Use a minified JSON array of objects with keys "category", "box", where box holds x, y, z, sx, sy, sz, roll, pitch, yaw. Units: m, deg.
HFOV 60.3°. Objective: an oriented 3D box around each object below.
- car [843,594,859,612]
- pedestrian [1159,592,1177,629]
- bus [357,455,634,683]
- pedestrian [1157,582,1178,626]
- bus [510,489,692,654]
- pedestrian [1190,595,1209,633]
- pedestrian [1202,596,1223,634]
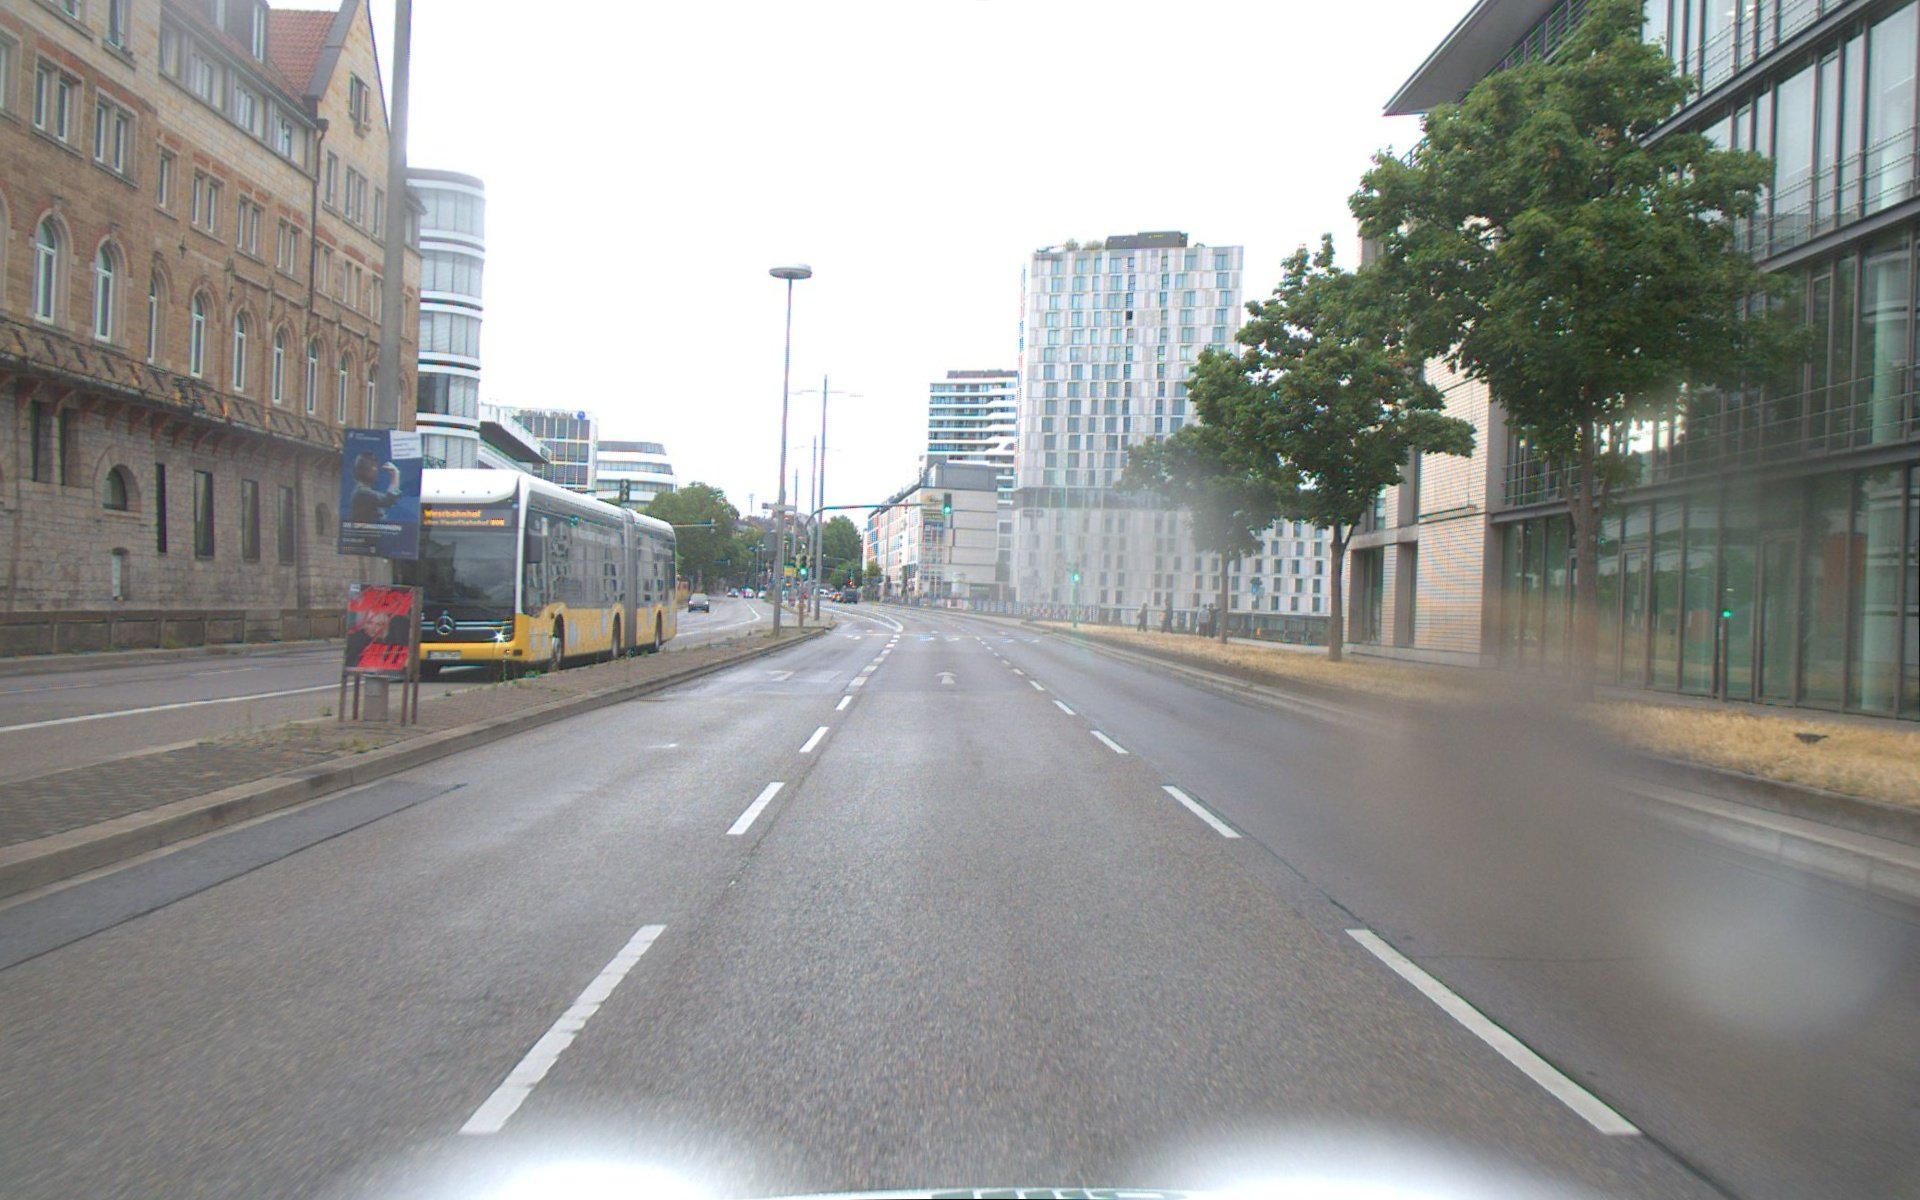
[{"category":"car","box":[-16.103,0.401,244.621,1.954,2.383,3.998,-6,0,-2]},{"category":"pedestrian","box":[9.146,0.442,72.649,0.540,1.605,0.669,1,2,33]},{"category":"bus","box":[-8.362,-0.486,31.314,2.644,3.621,10.090,0,0,-2]},{"category":"pedestrian","box":[9.129,0.172,72.815,0.542,1.873,0.777,2,2,45]},{"category":"bus","box":[-8.751,-0.679,41.579,2.644,3.621,10.090,0,1,-2]},{"category":"pedestrian","box":[10.288,0.585,71.013,0.540,1.605,0.669,1,2,33]},{"category":"pedestrian","box":[10.894,0.661,71.371,0.657,1.605,0.666,1,2,36]}]
